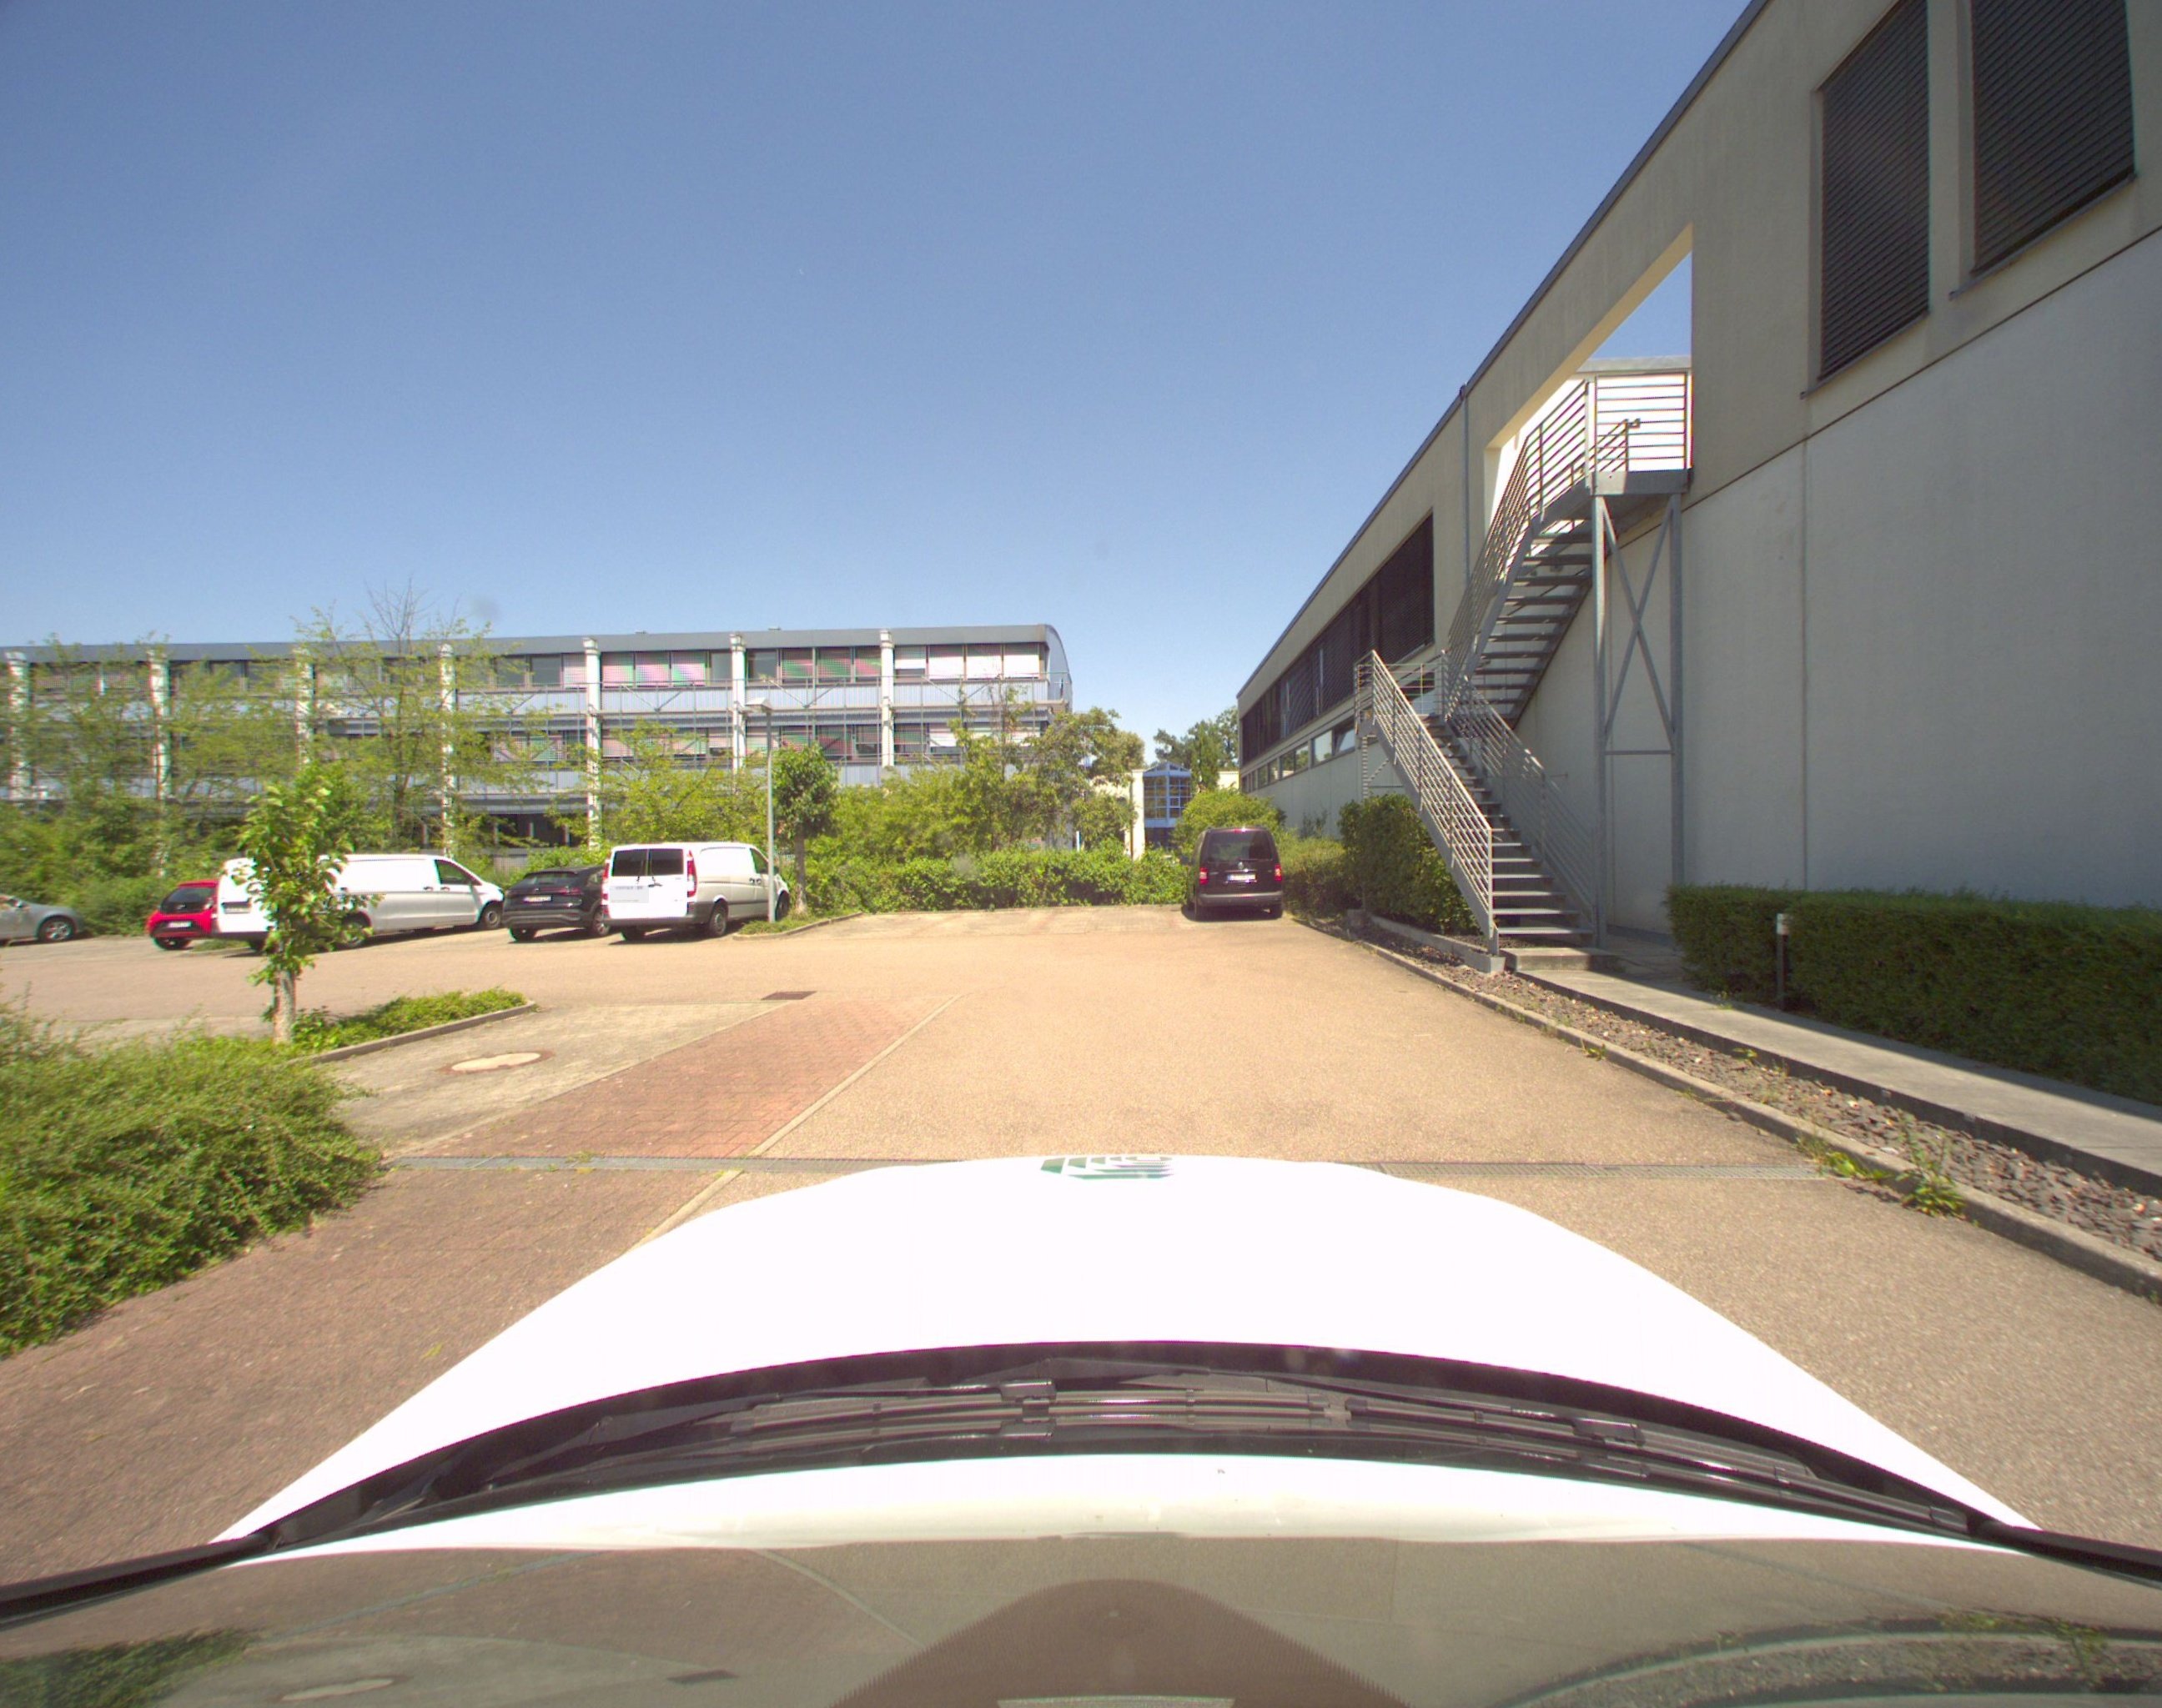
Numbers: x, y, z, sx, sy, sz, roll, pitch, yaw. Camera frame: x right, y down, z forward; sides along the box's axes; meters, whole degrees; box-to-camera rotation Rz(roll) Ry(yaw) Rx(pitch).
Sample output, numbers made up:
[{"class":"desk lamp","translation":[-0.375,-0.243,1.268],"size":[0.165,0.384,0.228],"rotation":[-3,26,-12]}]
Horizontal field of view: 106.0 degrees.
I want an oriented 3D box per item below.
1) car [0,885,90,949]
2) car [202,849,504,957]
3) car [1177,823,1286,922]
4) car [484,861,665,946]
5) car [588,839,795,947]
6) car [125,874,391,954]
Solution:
[{"class":"car","translation":[-26.149,1.541,18.541],"size":[1.858,1.406,4.177],"rotation":[-1,1,5]},{"class":"car","translation":[-15.233,0.908,17.520],"size":[1.873,1.891,4.810],"rotation":[-2,1,4]},{"class":"car","translation":[3.107,0.334,17.546],"size":[1.736,1.837,4.003],"rotation":[-2,0,3]},{"class":"car","translation":[-10.869,0.980,17.860],"size":[1.752,1.476,3.991],"rotation":[-2,1,-6]},{"class":"car","translation":[-8.028,0.675,17.415],"size":[1.906,1.905,4.810],"rotation":[-2,1,2]},{"class":"car","translation":[-18.519,1.287,18.632],"size":[1.774,1.441,4.006],"rotation":[-2,0,5]}]
